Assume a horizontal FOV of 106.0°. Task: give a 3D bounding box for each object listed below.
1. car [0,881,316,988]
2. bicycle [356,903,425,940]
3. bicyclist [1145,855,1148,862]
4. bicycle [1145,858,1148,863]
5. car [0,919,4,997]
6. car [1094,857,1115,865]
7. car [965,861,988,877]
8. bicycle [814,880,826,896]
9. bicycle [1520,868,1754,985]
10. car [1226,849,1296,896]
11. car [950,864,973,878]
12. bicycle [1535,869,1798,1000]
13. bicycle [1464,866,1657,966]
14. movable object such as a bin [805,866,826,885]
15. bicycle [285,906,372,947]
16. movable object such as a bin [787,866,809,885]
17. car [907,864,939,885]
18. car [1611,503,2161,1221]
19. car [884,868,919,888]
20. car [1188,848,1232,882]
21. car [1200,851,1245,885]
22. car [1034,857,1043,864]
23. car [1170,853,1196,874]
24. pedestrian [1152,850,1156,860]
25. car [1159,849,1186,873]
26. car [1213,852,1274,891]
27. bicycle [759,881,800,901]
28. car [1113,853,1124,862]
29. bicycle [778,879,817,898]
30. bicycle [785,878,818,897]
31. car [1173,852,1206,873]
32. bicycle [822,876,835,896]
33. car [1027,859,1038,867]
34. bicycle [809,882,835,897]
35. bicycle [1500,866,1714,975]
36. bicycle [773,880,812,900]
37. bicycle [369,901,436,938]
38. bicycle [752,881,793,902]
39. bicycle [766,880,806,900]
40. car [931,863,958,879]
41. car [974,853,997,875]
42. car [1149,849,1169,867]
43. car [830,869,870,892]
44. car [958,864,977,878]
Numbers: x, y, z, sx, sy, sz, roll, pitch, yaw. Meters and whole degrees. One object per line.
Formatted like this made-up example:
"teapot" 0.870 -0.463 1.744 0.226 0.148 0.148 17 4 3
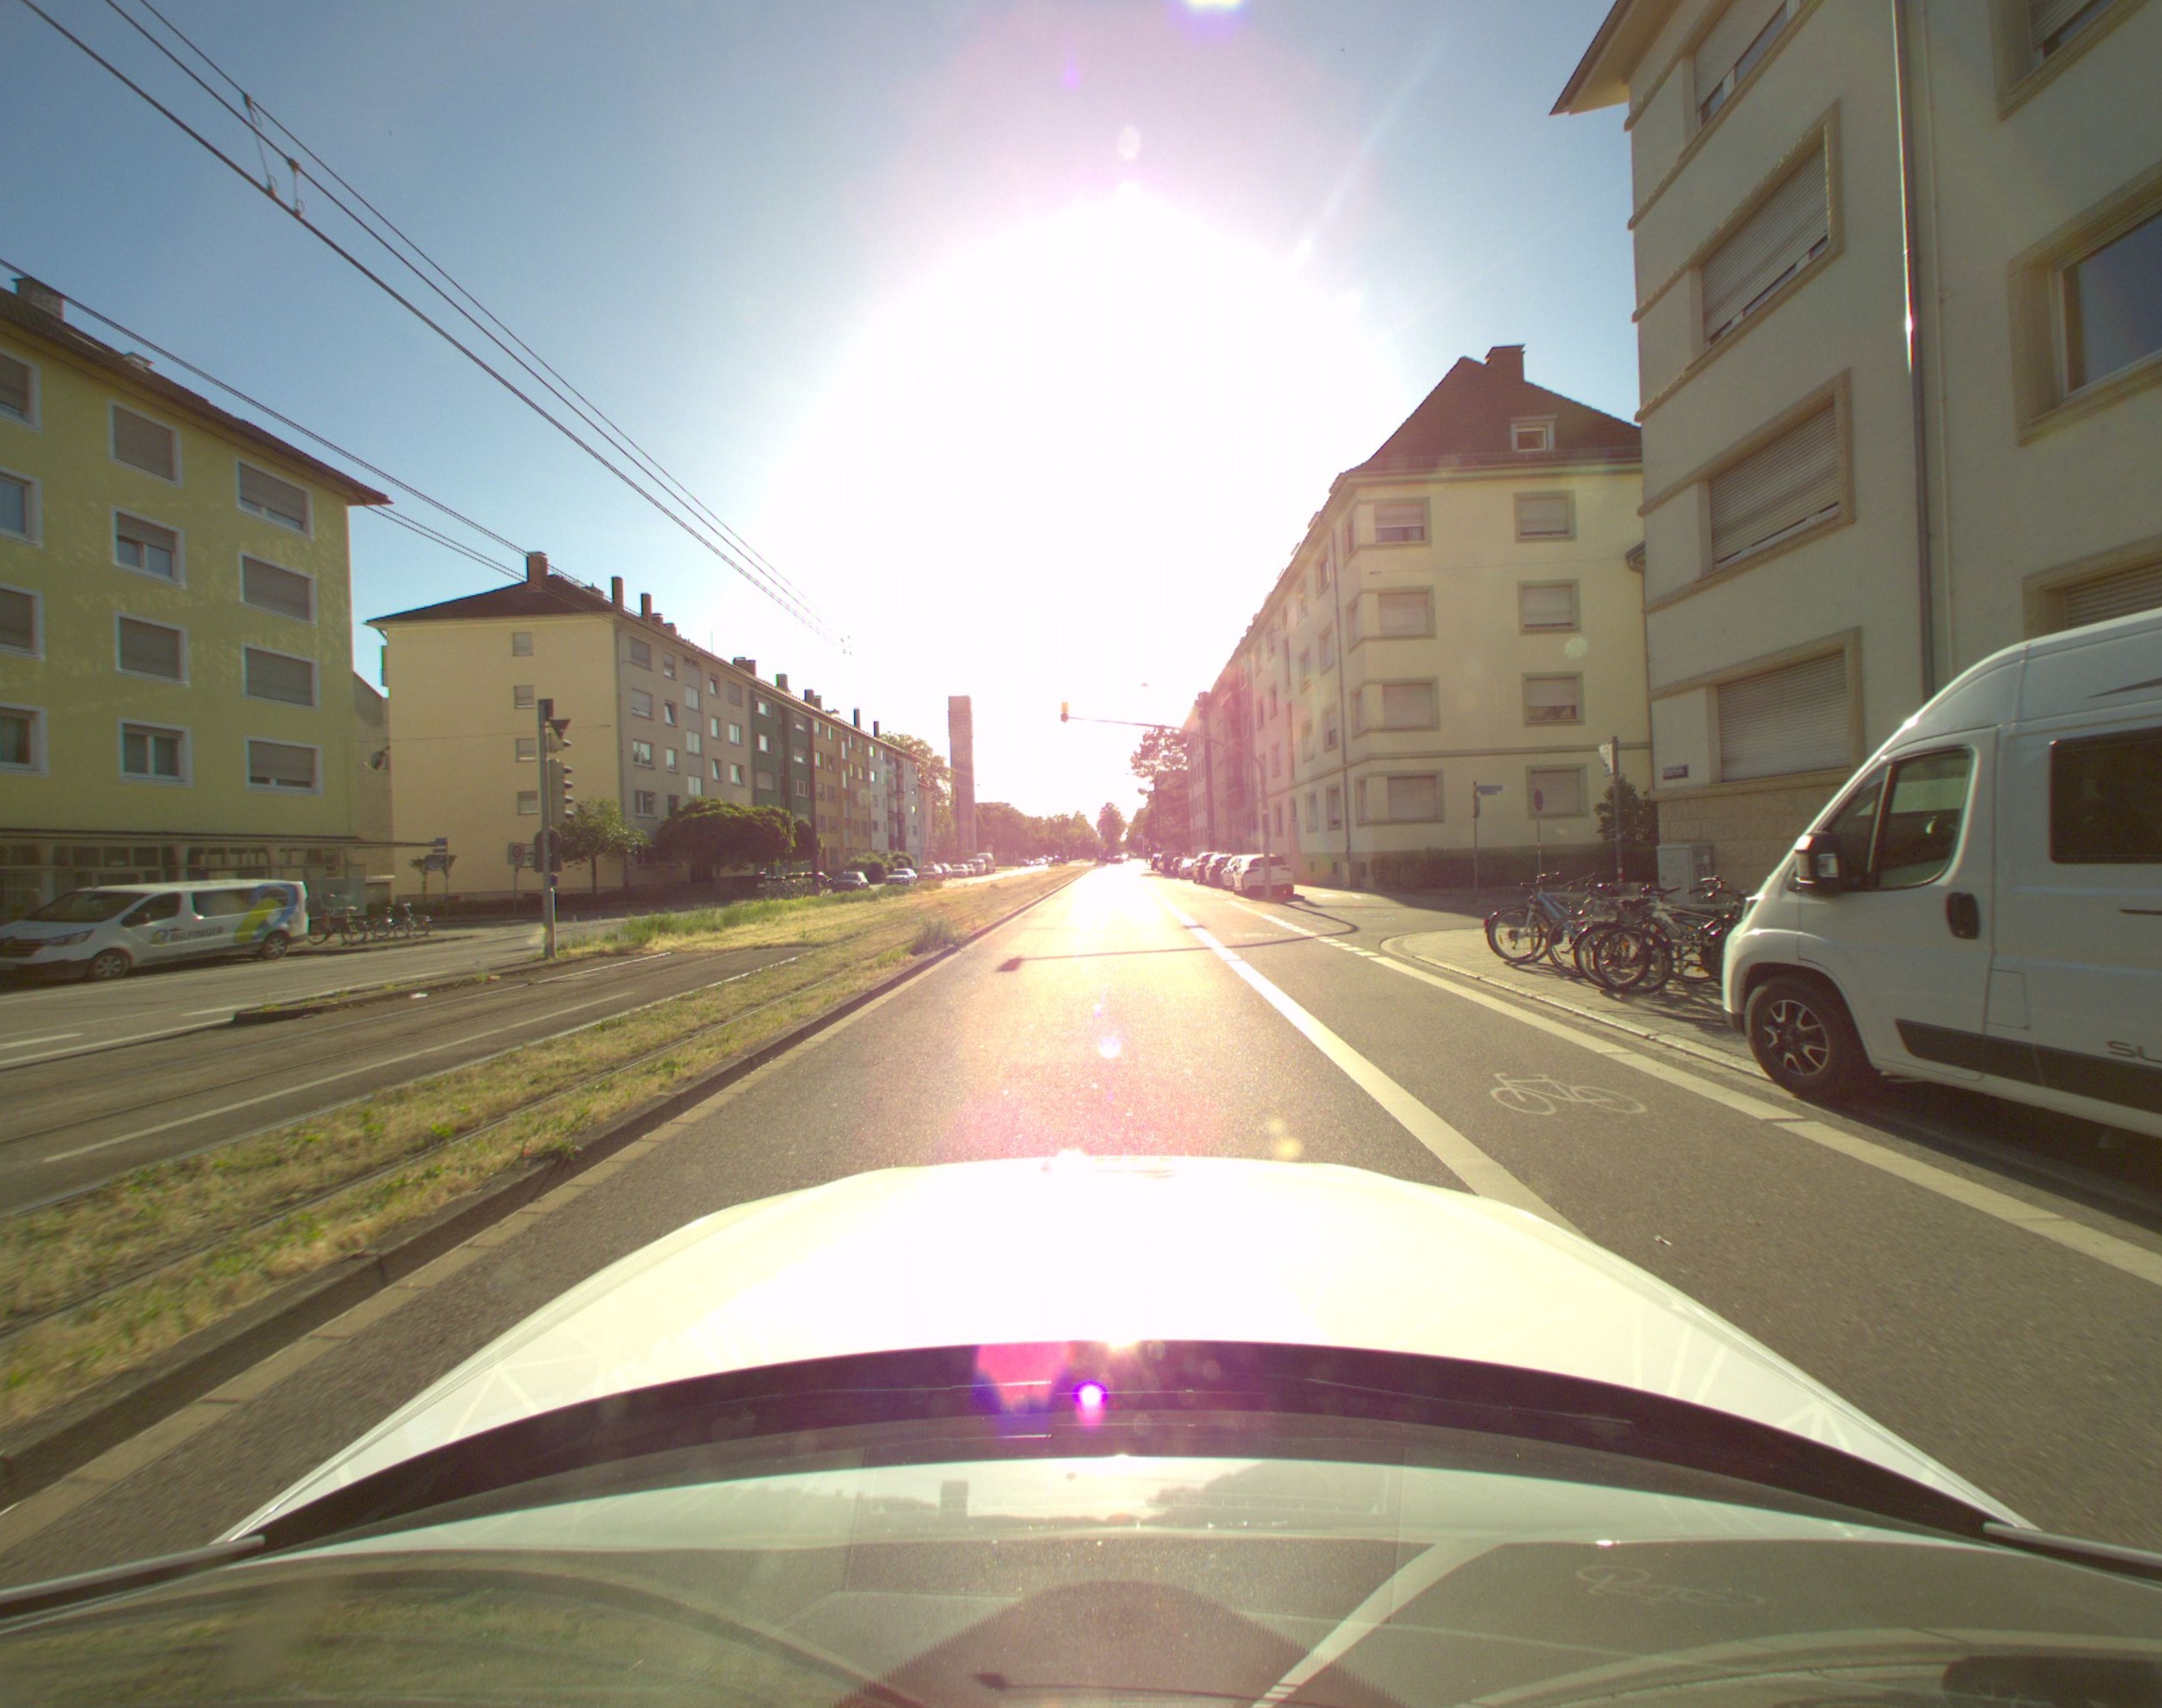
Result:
"car" -21.467 1.700 19.043 1.988 1.949 5.498 0 0 -1
"bicycle" -21.312 2.074 25.142 1.812 1.106 0.391 0 0 2
"bicyclist" 11.502 0.752 142.916 0.635 1.323 0.804 0 0 4
"bicycle" 11.497 1.166 142.852 0.645 0.972 1.806 0 0 5
"car" -21.533 1.992 13.270 1.776 1.474 4.598 0 0 2
"car" 5.177 1.562 177.863 4.524 1.611 1.877 0 0 -41
"car" -13.325 1.901 104.287 2.023 2.021 5.375 0 0 3
"bicycle" -15.675 2.054 48.914 0.376 0.866 2.048 0 0 -9
"bicycle" 5.702 0.732 8.463 0.476 1.087 1.894 1 -4 -45
"car" 6.423 0.603 29.444 1.687 1.458 4.382 -3 0 3
"car" -13.565 1.952 92.851 1.886 1.491 4.703 -1 0 0
"bicycle" 5.545 0.702 7.831 0.489 1.087 2.003 0 0 -45
"bicycle" 5.784 0.746 9.928 0.477 1.087 1.894 -6 1 -45
"movable object such as a bin" -19.453 1.588 59.650 1.141 1.368 1.040 0 0 4
"bicycle" -21.540 2.073 23.330 2.089 1.106 0.473 0 0 2
"movable object such as a bin" -20.741 1.589 59.731 1.141 1.368 1.040 0 0 4
"car" -15.086 1.935 78.123 1.986 1.838 4.612 0 0 2
"car" 5.109 -0.020 3.054 2.143 2.696 6.295 -5 0 2
"car" -14.874 1.964 67.654 1.722 1.454 4.379 -1 0 2
"car" 7.125 0.584 45.461 1.630 1.647 4.373 -5 0 0
"car" 6.916 0.649 40.212 1.629 1.517 4.191 -3 0 3
"car" -10.137 1.651 195.399 1.799 1.533 4.364 -3 0 2
"car" 7.989 0.734 64.135 1.629 1.453 3.792 -5 0 2
"pedestrian" 13.389 0.158 149.465 0.699 1.789 0.695 -5 1 8
"car" 8.396 0.628 75.415 1.906 1.899 5.137 -6 0 2
"car" 6.915 0.698 35.071 1.631 1.458 4.079 -3 0 -2
"bicycle" -16.517 2.016 44.639 2.036 1.092 0.617 0 0 8
"car" 6.737 0.619 146.724 1.689 1.508 3.699 -1 0 0
"bicycle" -16.283 1.975 46.789 2.036 1.092 0.617 0 0 8
"bicycle" -16.529 1.969 48.167 2.028 1.092 0.619 0 0 29
"car" 7.444 0.560 56.206 1.696 1.275 4.304 -6 0 1
"bicycle" -15.214 1.907 49.061 0.509 1.092 1.930 0 0 -9
"car" -9.644 1.706 162.940 1.687 1.448 4.221 -4 0 3
"bicycle" -15.480 2.111 48.643 1.567 0.869 0.420 0 0 24
"bicycle" 5.825 0.725 9.121 0.477 1.087 1.894 -4 0 -45
"bicycle" -16.323 2.018 46.084 2.036 1.092 0.617 0 0 8
"bicycle" -21.292 2.052 25.558 1.812 1.106 0.391 0 0 2
"bicycle" -16.627 2.018 43.891 2.036 1.092 0.617 0 0 8
"bicycle" -16.402 2.013 45.353 2.036 1.092 0.617 0 0 8
"car" -14.188 1.756 84.823 1.986 1.607 4.153 0 0 2
"car" -13.015 1.278 111.628 2.023 2.868 6.233 -1 0 3
"car" 8.609 0.438 90.525 1.871 1.716 4.938 -5 0 3
"car" -15.436 1.751 54.540 1.630 1.442 3.734 0 0 0
"car" -13.677 2.052 98.434 1.689 1.515 4.325 -1 0 0
